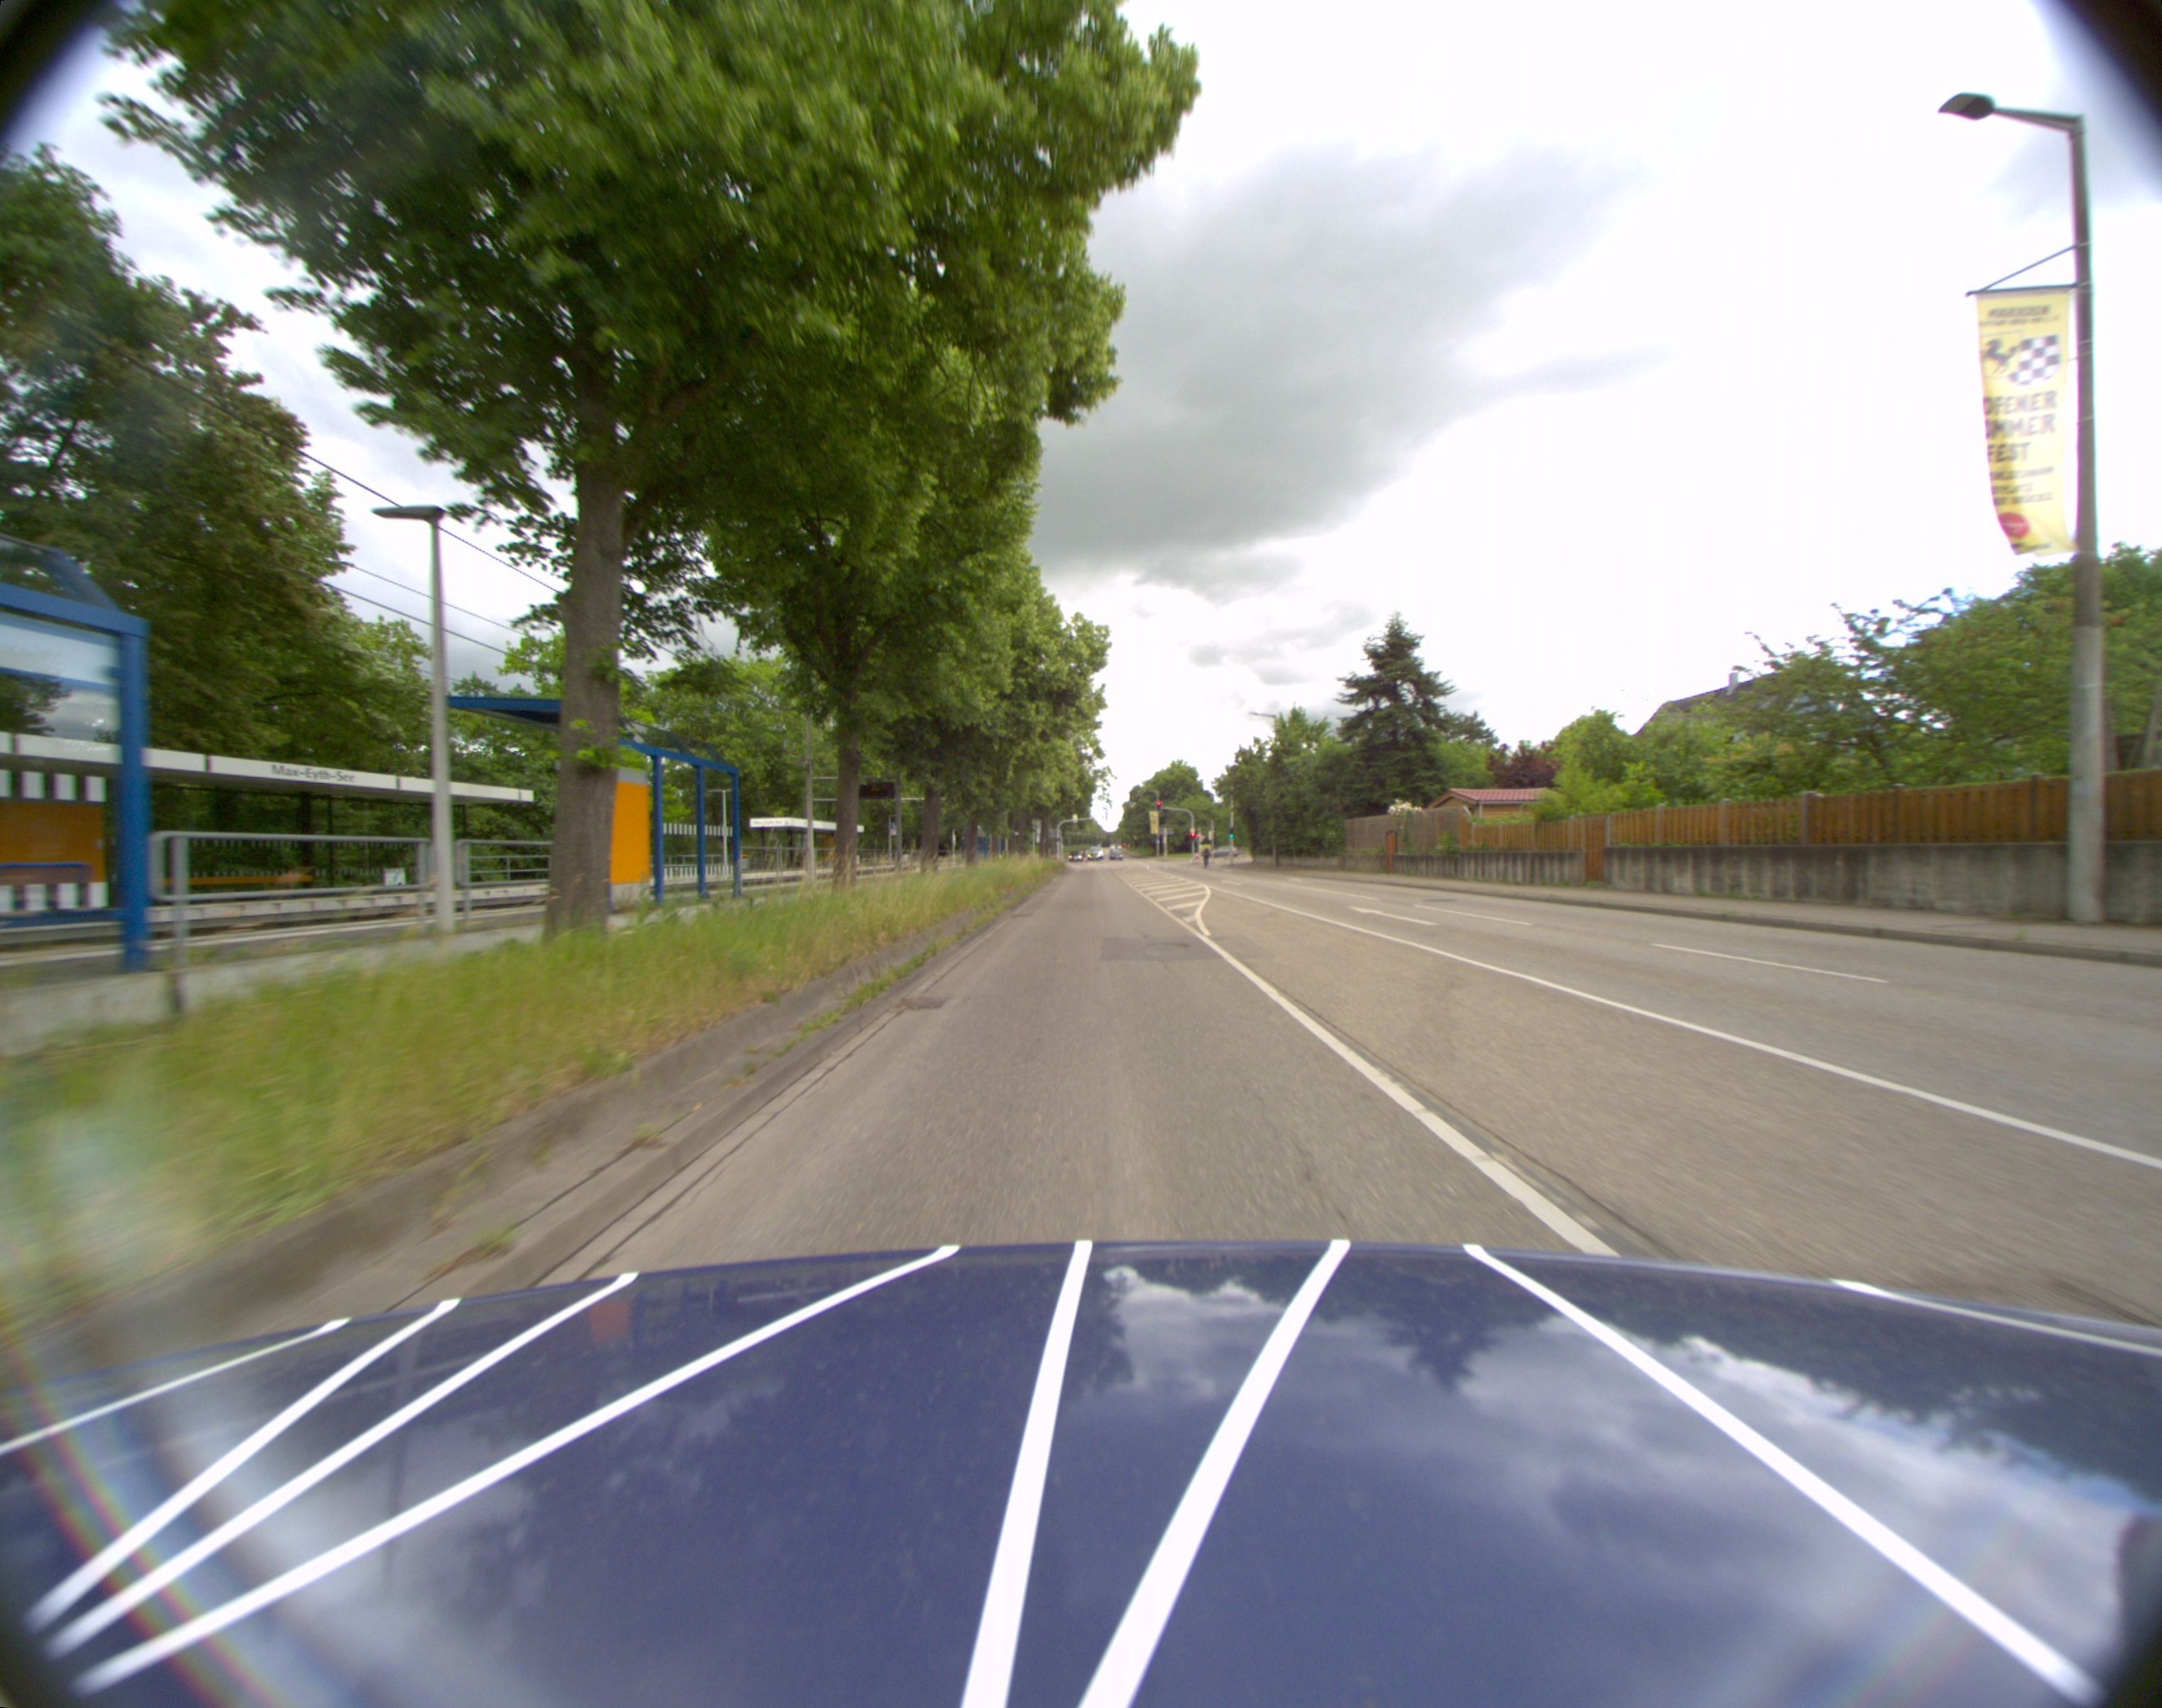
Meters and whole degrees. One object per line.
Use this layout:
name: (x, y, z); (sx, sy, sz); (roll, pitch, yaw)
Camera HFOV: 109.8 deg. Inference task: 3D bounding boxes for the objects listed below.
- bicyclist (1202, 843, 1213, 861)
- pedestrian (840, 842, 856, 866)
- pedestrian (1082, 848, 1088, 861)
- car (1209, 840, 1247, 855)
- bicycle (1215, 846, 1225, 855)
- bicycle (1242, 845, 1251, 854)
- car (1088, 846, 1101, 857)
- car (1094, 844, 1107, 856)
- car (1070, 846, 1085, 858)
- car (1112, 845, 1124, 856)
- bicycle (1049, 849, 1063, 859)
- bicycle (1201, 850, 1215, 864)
bicyclist: (10.671, -0.155, 64.251); (0.644, 1.526, 0.978); (-3, 1, -4)
pedestrian: (-15.049, 0.007, 49.084); (0.720, 1.503, 0.724); (-3, 2, 4)
pedestrian: (0.508, 0.100, 100.165); (0.753, 1.727, 0.840); (2, 2, 5)
car: (20.232, -0.945, 104.785); (4.734, 1.842, 2.003); (-2, 2, 32)
bicycle: (20.577, -0.544, 112.489); (0.544, 1.245, 1.939); (-1, 2, 38)
bicycle: (24.161, -0.630, 111.098); (0.544, 1.245, 1.939); (-2, 2, 34)
car: (1.941, -0.388, 109.611); (1.708, 1.472, 3.667); (-1, 1, 1)
car: (3.077, -0.668, 120.255); (1.912, 1.832, 5.281); (-1, 1, 1)
car: (-0.459, -0.260, 107.009); (1.807, 1.520, 3.928); (-2, 1, 3)
car: (5.367, -0.495, 109.324); (1.560, 1.458, 3.807); (1, 1, 1)
bicycle: (-3.028, 0.019, 91.259); (1.679, 1.084, 0.602); (2, 1, -3)
bicycle: (10.698, 0.245, 64.290); (0.644, 1.138, 2.147); (-3, 0, -4)
